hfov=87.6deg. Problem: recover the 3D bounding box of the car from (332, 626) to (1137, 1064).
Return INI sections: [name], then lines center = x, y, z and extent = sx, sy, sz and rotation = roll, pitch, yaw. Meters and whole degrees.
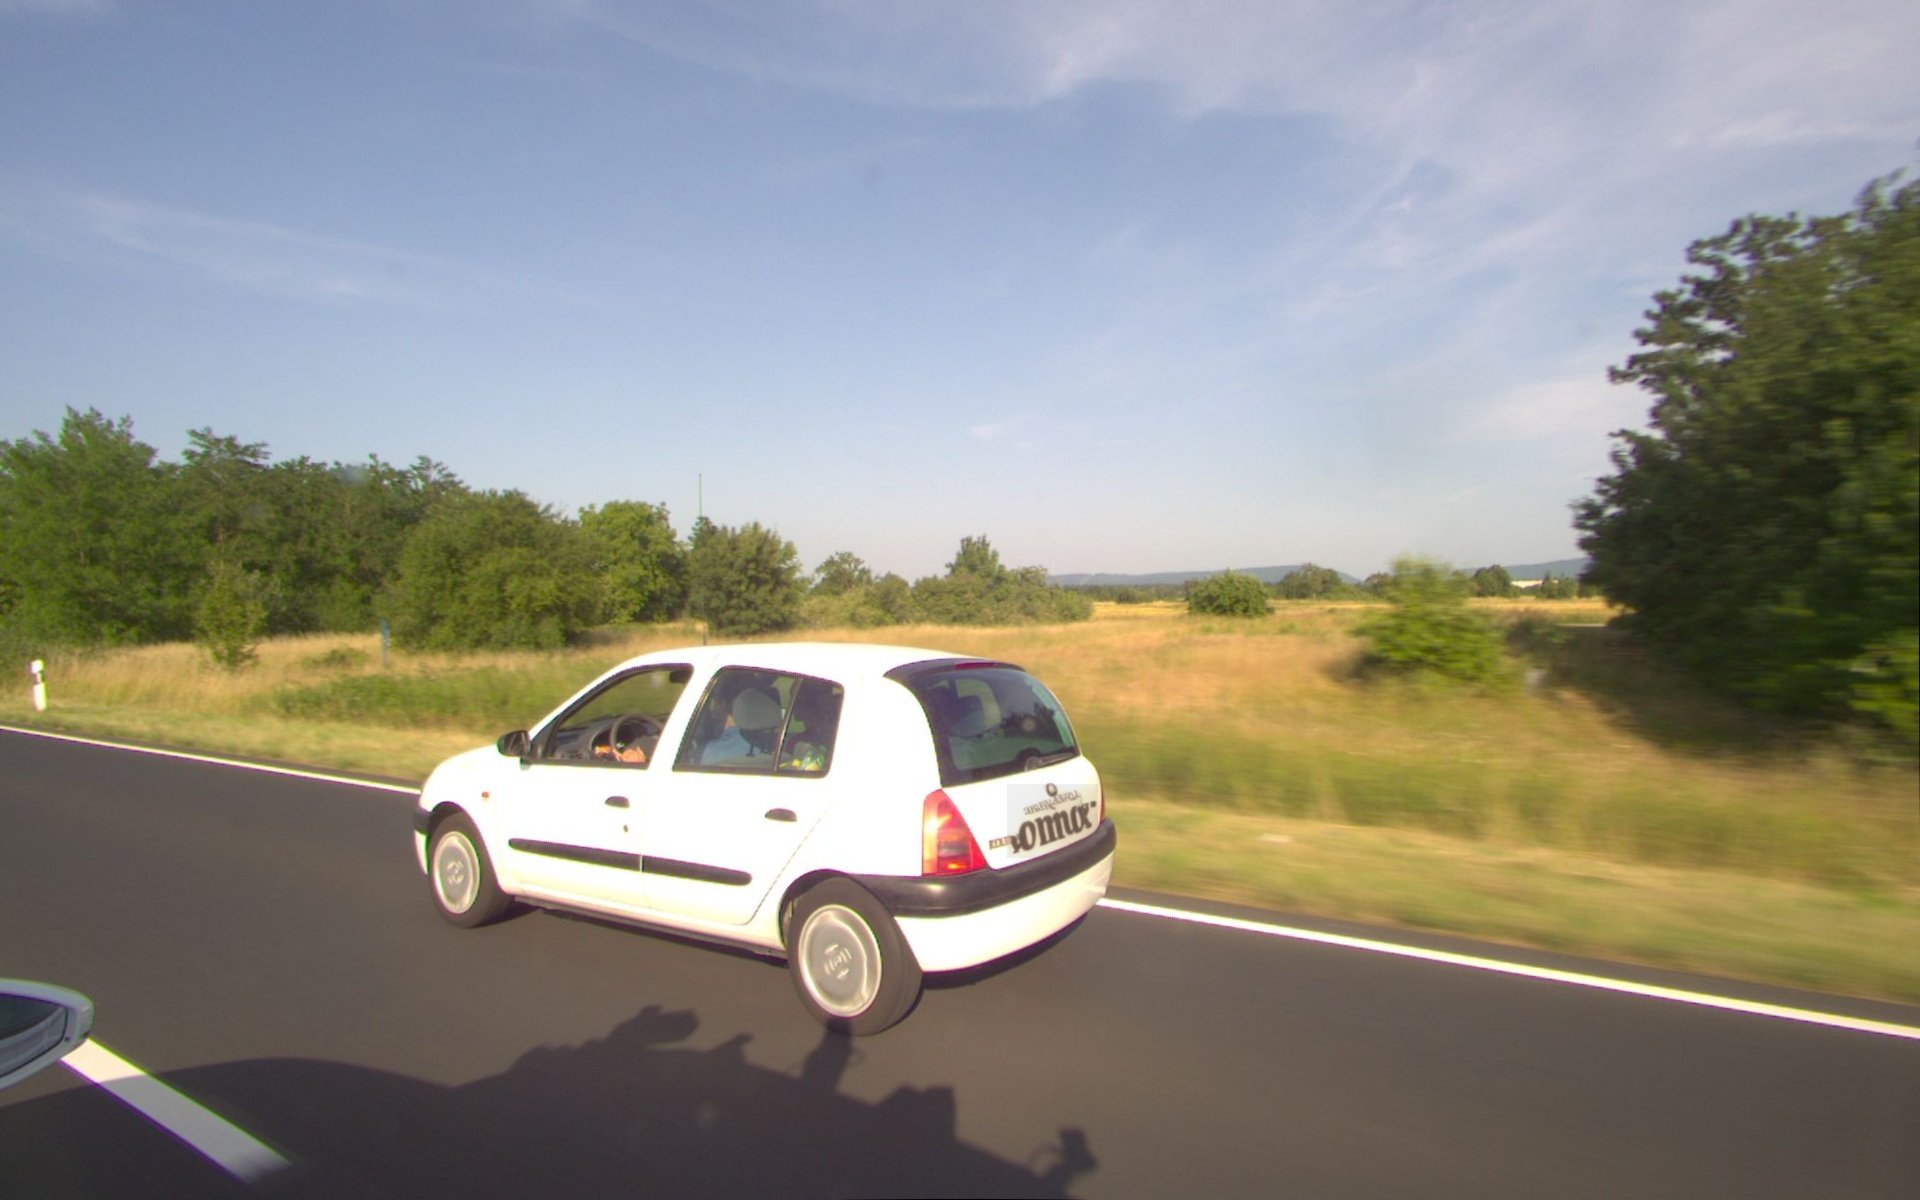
[car]
center = -1.257, 0.845, 4.948
extent = 3.895, 1.405, 1.614
rotation = -1, -2, 32
